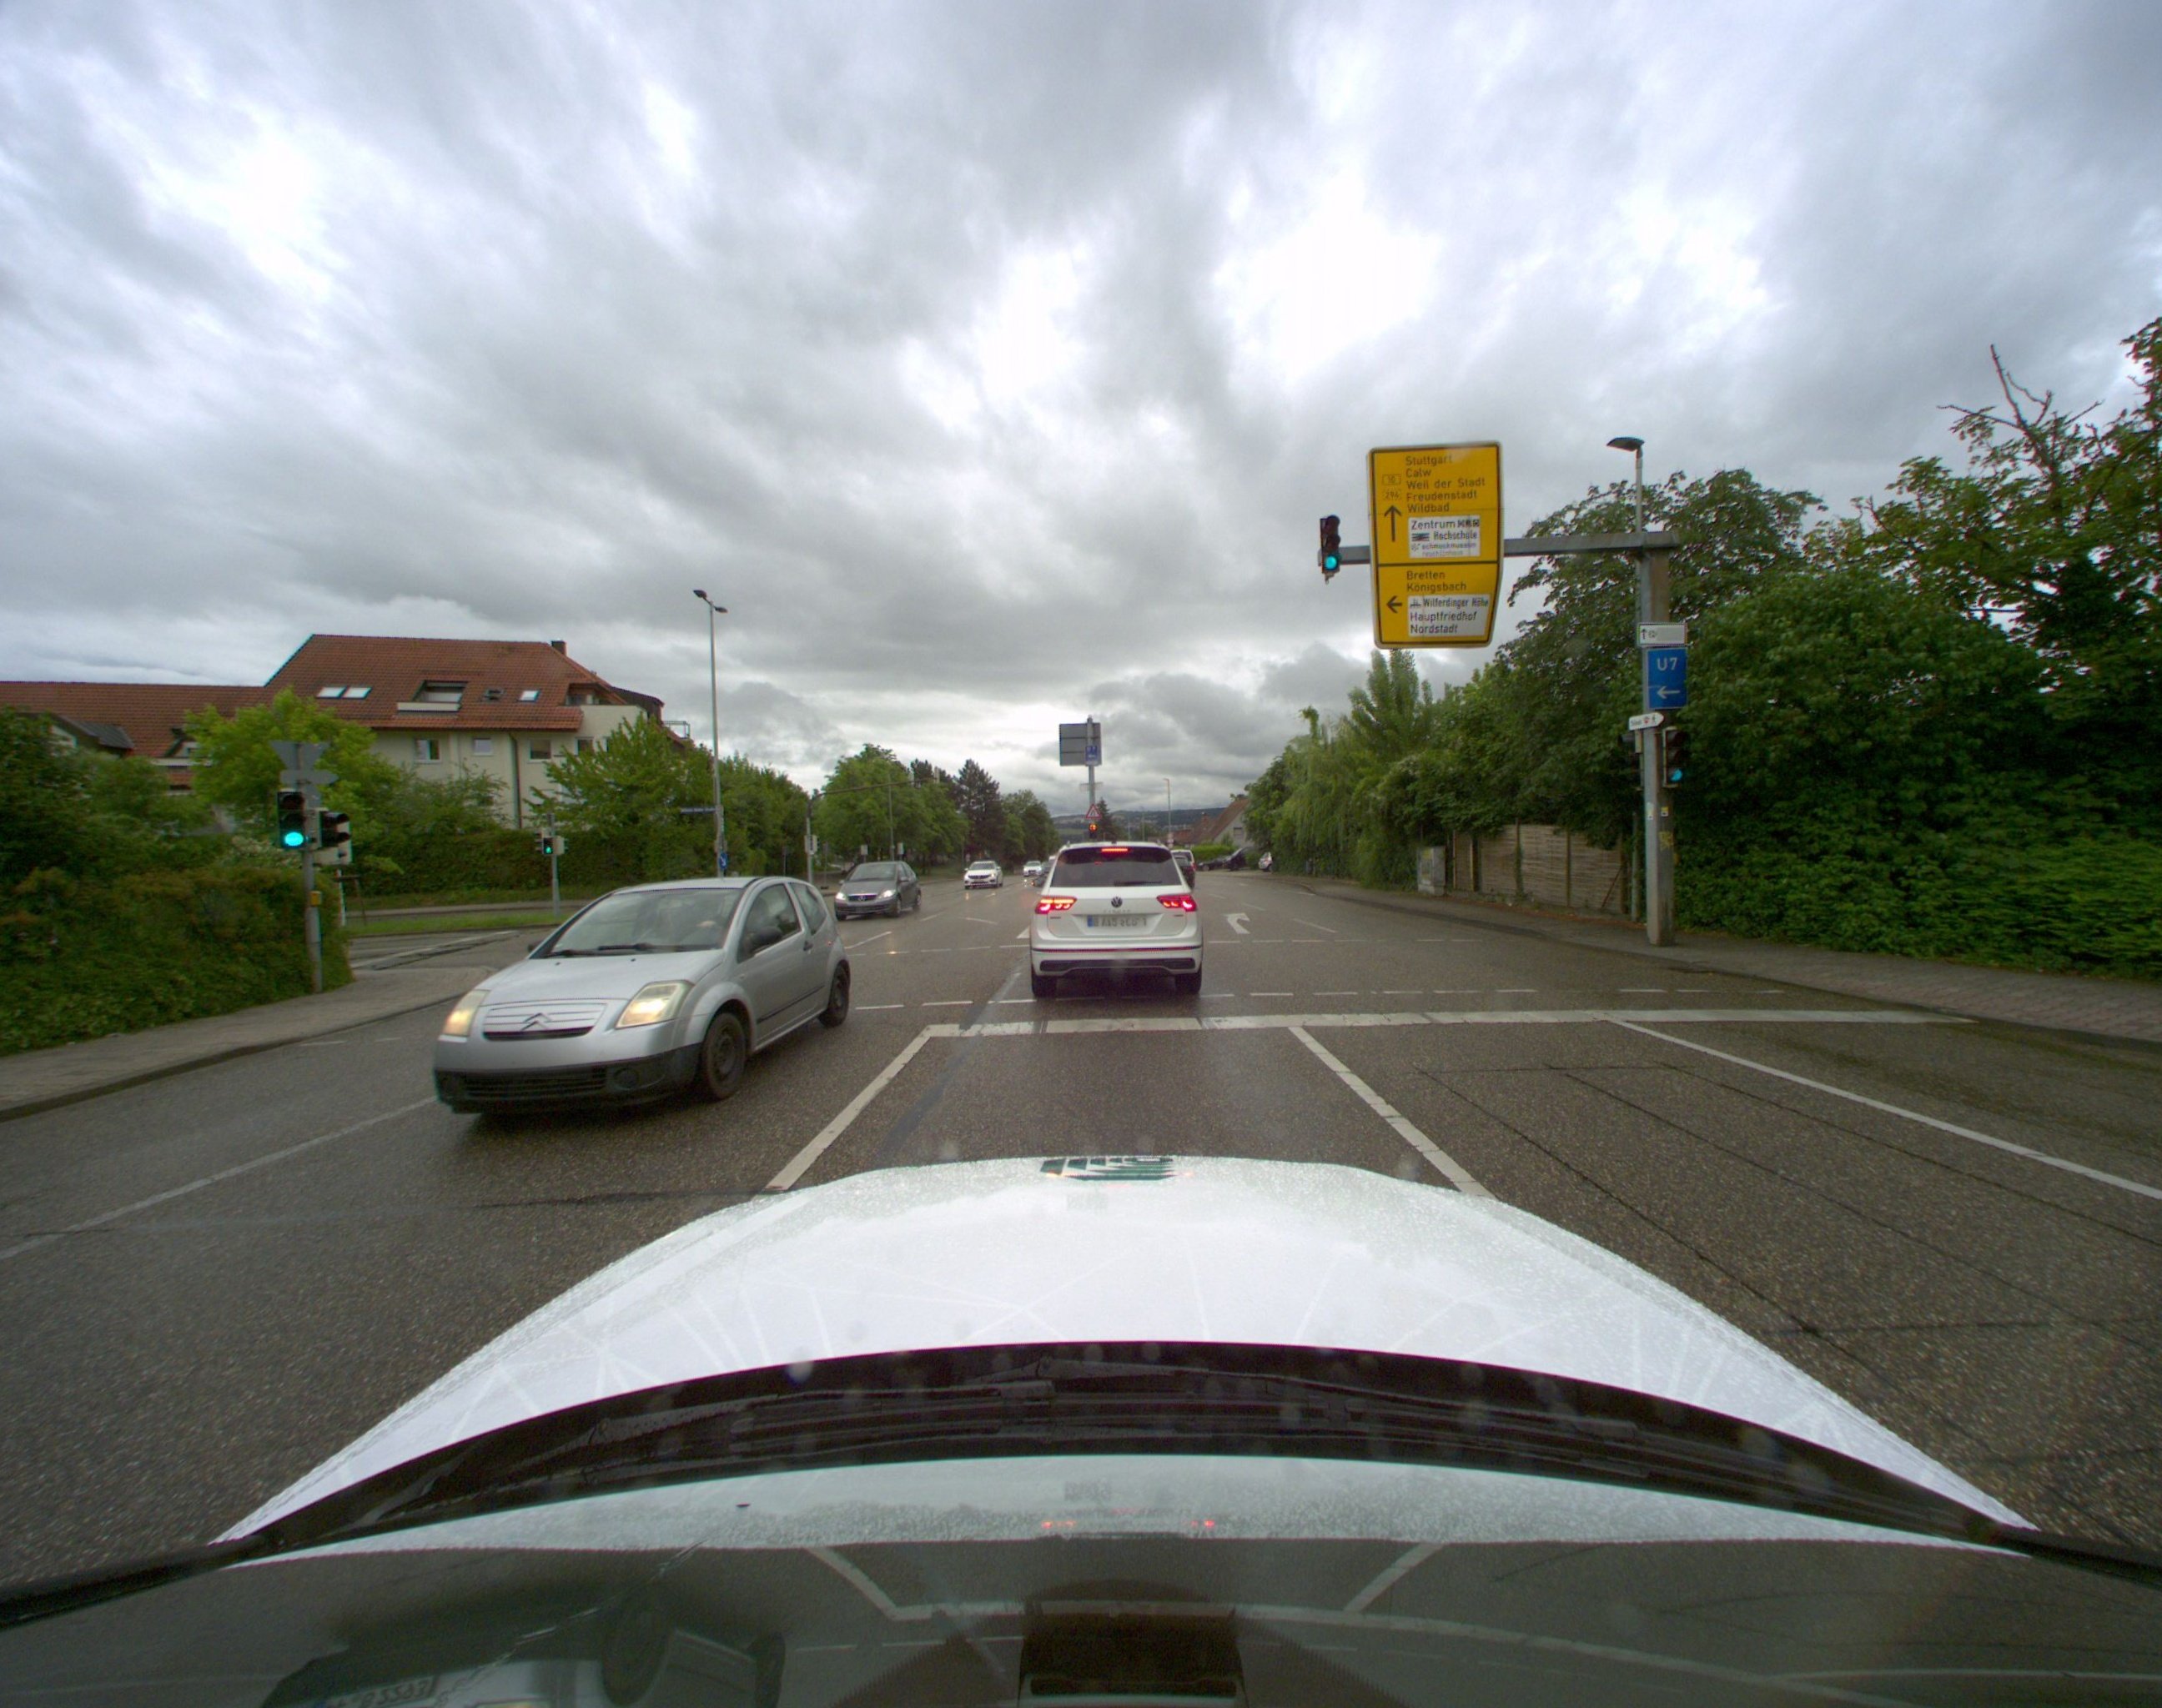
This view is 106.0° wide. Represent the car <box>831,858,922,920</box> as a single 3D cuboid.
[{"bbox_3d":[-5.881,0.952,23.851,1.694,1.599,3.549,-2,0,0],"label":"car"}]

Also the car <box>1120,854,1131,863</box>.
[{"bbox_3d":[8.106,0.772,148.758,1.843,1.574,4.002,-2,0,2],"label":"car"}]

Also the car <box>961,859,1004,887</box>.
[{"bbox_3d":[-5.440,1.014,45.472,1.962,1.454,4.307,0,0,-1],"label":"car"}]

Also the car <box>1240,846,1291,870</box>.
[{"bbox_3d":[14.637,0.312,64.625,3.618,1.746,1.707,-1,3,-2],"label":"car"}]

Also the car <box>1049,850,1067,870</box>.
[{"bbox_3d":[-3.125,0.801,112.973,2.290,2.528,5.772,-2,0,0],"label":"car"}]

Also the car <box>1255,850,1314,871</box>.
[{"bbox_3d":[14.771,0.491,59.196,3.708,1.395,1.725,-2,-1,-6],"label":"car"}]

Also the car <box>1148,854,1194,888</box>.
[{"bbox_3d":[4.000,0.725,36.734,1.674,1.460,3.802,-1,0,1],"label":"car"}]

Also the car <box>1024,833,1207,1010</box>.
[{"bbox_3d":[0.382,0.643,10.041,1.756,1.696,4.273,-1,0,1],"label":"car"}]

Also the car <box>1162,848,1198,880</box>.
[{"bbox_3d":[5.916,0.585,48.826,1.706,1.758,3.802,-2,0,1],"label":"car"}]

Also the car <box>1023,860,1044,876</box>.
[{"bbox_3d":[-4.468,1.328,77.066,1.740,1.397,3.801,-2,0,0],"label":"car"}]

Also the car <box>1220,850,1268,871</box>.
[{"bbox_3d":[13.408,0.532,67.030,3.618,1.626,1.790,-1,1,-2],"label":"car"}]

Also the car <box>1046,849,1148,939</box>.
[{"bbox_3d":[0.366,0.710,16.534,1.791,1.589,3.928,-1,0,2],"label":"car"}]

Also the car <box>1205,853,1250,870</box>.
[{"bbox_3d":[12.906,0.651,71.884,3.675,1.370,1.519,-1,-2,0],"label":"car"}]

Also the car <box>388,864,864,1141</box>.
[{"bbox_3d":[-3.085,0.875,6.440,1.633,1.460,3.520,-3,0,2],"label":"car"}]

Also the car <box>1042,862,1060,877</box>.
[{"bbox_3d":[-3.380,1.740,92.321,1.769,1.502,4.473,-3,0,1],"label":"car"}]
